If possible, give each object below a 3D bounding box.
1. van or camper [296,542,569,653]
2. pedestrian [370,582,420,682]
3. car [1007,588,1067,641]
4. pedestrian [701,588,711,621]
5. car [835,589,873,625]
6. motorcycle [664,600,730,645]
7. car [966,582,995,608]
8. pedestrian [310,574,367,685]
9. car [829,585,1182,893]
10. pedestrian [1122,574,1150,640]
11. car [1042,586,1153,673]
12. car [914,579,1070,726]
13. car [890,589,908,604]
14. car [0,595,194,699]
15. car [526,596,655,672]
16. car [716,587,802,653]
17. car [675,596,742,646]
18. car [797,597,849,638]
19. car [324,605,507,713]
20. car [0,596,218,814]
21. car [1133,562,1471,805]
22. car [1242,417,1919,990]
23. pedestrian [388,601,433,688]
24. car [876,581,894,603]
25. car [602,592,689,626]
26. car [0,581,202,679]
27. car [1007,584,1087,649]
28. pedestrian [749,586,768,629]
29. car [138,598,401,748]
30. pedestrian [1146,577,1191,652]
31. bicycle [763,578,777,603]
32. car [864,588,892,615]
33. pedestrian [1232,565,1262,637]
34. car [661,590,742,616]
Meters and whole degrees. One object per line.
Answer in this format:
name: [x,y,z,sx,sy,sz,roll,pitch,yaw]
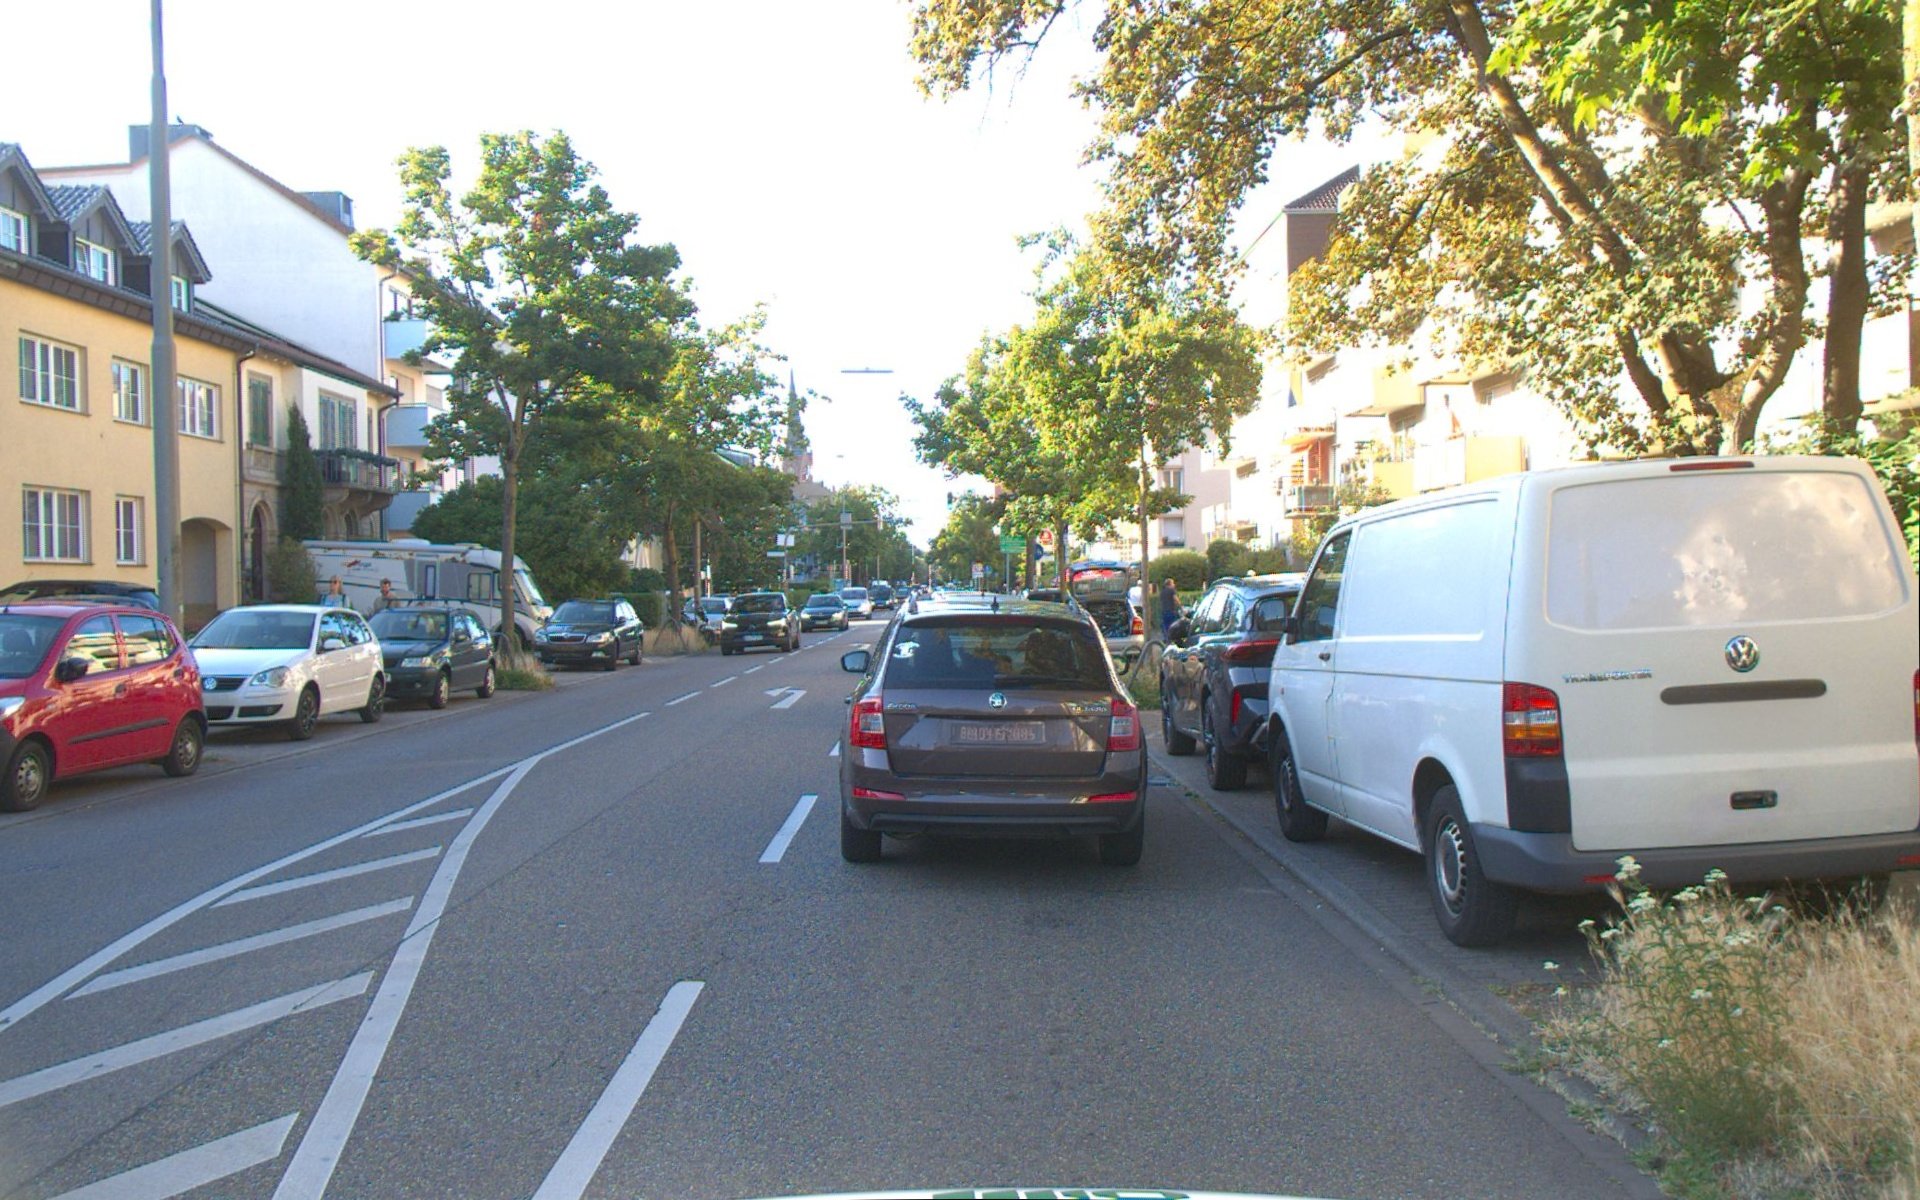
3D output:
van or camper: [-14.369,-0.072,45.346,6.660,2.821,2.351,1,0,-2]
pedestrian: [-10.447,0.588,30.593,0.699,1.824,0.572,-1,0,2]
car: [2.310,0.409,50.455,1.668,1.475,4.014,-3,0,1]
pedestrian: [-14.470,0.250,94.148,0.440,1.828,0.504,-1,0,0]
car: [-5.710,0.373,89.626,1.769,1.836,4.744,-3,0,-1]
motorcycle: [-7.866,0.678,49.352,2.014,1.287,0.764,-1,0,38]
car: [1.485,-0.384,119.845,1.952,1.803,4.001,1,0,2]
pedestrian: [-10.303,0.482,27.424,0.699,1.824,0.506,-1,0,2]
car: [0.186,0.676,10.321,1.737,1.515,4.310,0,0,-1]
pedestrian: [4.847,0.183,45.626,0.649,1.779,0.772,-2,0,2]
car: [2.624,0.524,32.468,1.673,1.506,4.267,-3,0,-1]
car: [0.361,0.571,20.349,1.701,1.598,4.000,1,0,0]
car: [-6.640,-0.357,181.002,1.793,1.607,4.000,-1,0,-1]
car: [-13.411,0.670,25.227,1.630,1.433,3.753,-2,0,1]
car: [-8.001,0.691,36.234,1.829,1.520,4.517,1,0,-1]
car: [-5.328,0.520,44.244,1.798,1.597,3.999,-3,0,-1]
car: [-8.033,0.643,53.058,1.561,1.496,3.803,1,0,-1]
car: [-5.537,0.679,67.148,1.725,1.477,4.533,-3,0,-1]
car: [-7.905,0.806,24.339,1.511,1.421,3.665,-1,0,-1]
car: [-7.630,0.766,13.411,1.560,1.550,3.437,-1,0,2]
car: [2.687,0.585,14.032,1.818,1.631,4.310,-3,0,-1]
car: [2.894,0.370,8.591,1.865,2.140,4.639,-1,0,-2]
pedestrian: [-9.862,0.792,29.681,0.577,1.522,0.542,-1,0,2]
car: [-8.737,-0.894,192.201,1.953,2.521,3.999,-1,0,-1]
car: [-17.720,0.506,93.255,4.540,1.843,1.861,-1,0,-1]
car: [-16.190,0.511,30.096,3.905,1.664,1.866,1,0,0]
car: [2.312,0.417,44.676,1.818,1.609,4.012,-3,0,-1]
pedestrian: [-9.566,0.353,78.625,0.764,2.022,0.821,-1,0,0]
car: [-8.008,0.775,19.567,1.561,1.550,3.889,-1,0,-2]
pedestrian: [4.705,0.318,37.314,0.742,1.668,0.693,-1,0,36]
bicycle: [-8.345,-0.412,72.589,0.476,1.083,1.534,-1,0,-1]
car: [-6.465,0.087,130.471,1.953,1.942,4.963,-3,0,-1]
pedestrian: [6.700,0.027,38.645,0.467,1.668,0.533,-1,0,-20]
car: [-15.499,0.190,99.279,4.540,1.562,1.861,0,0,-1]
